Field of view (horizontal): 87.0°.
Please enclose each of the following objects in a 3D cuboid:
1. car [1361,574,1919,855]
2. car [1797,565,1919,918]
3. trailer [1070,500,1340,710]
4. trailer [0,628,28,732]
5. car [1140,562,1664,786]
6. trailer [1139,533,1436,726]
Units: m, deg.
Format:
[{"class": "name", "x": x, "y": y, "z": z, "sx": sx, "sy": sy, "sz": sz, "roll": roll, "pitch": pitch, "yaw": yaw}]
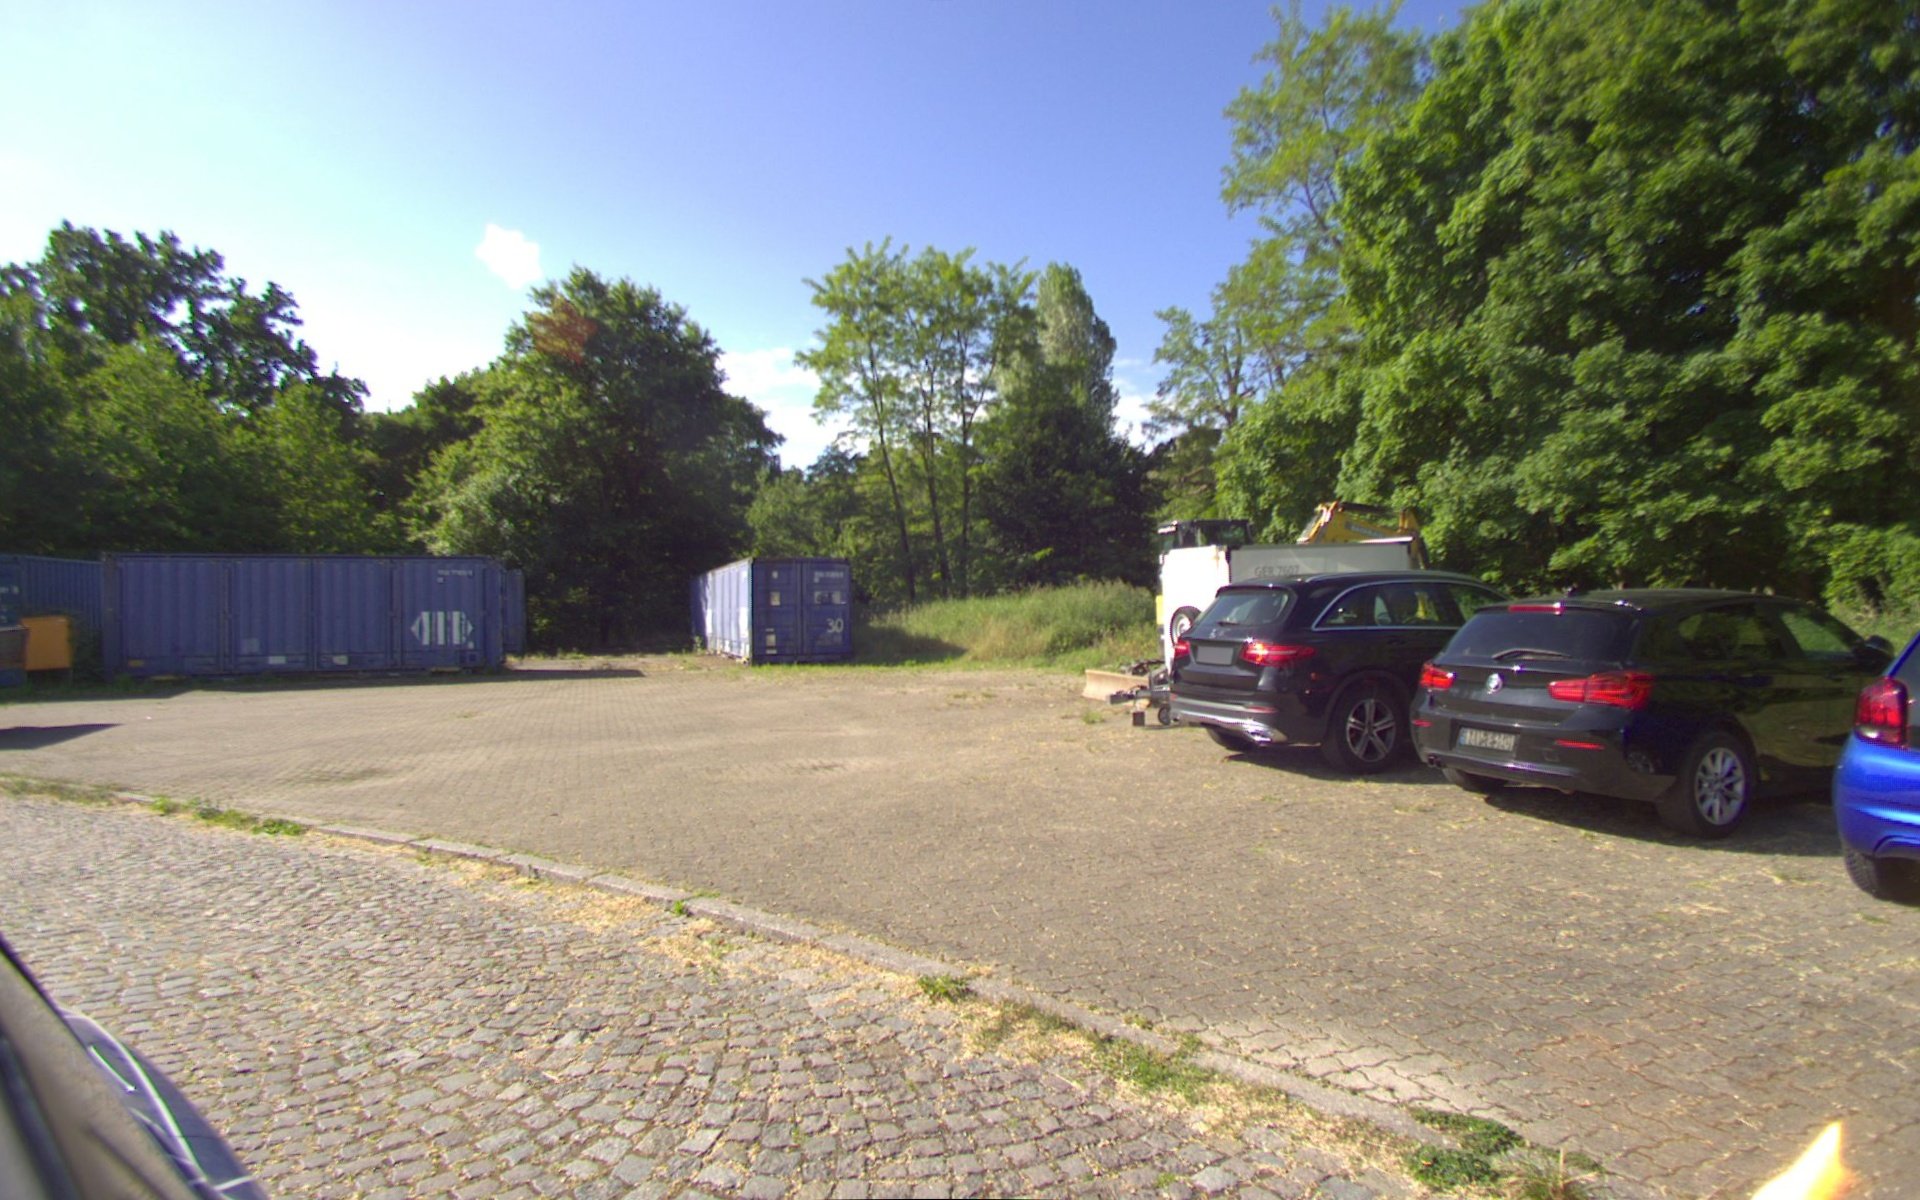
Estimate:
[{"class": "car", "x": 4.905, "y": 0.580, "z": 6.837, "sx": 3.724, "sy": 1.422, "sz": 1.901, "roll": -2, "pitch": 0, "yaw": -20}, {"class": "car", "x": 5.885, "y": 0.529, "z": 4.377, "sx": 3.724, "sy": 1.469, "sz": 1.791, "roll": -2, "pitch": 0, "yaw": -19}, {"class": "trailer", "x": 3.396, "y": 0.028, "z": 14.369, "sx": 2.801, "sy": 2.557, "sz": 2.273, "roll": -4, "pitch": 1, "yaw": -19}, {"class": "trailer", "x": -15.349, "y": 1.112, "z": 12.657, "sx": 4.777, "sy": 1.425, "sz": 2.658, "roll": 0, "pitch": -1, "yaw": -20}, {"class": "car", "x": 3.927, "y": 0.529, "z": 9.121, "sx": 4.060, "sy": 1.601, "sz": 1.977, "roll": -2, "pitch": 0, "yaw": -20}, {"class": "trailer", "x": 3.875, "y": 0.291, "z": 12.164, "sx": 2.801, "sy": 2.066, "sz": 1.830, "roll": -2, "pitch": 0, "yaw": -19}]
